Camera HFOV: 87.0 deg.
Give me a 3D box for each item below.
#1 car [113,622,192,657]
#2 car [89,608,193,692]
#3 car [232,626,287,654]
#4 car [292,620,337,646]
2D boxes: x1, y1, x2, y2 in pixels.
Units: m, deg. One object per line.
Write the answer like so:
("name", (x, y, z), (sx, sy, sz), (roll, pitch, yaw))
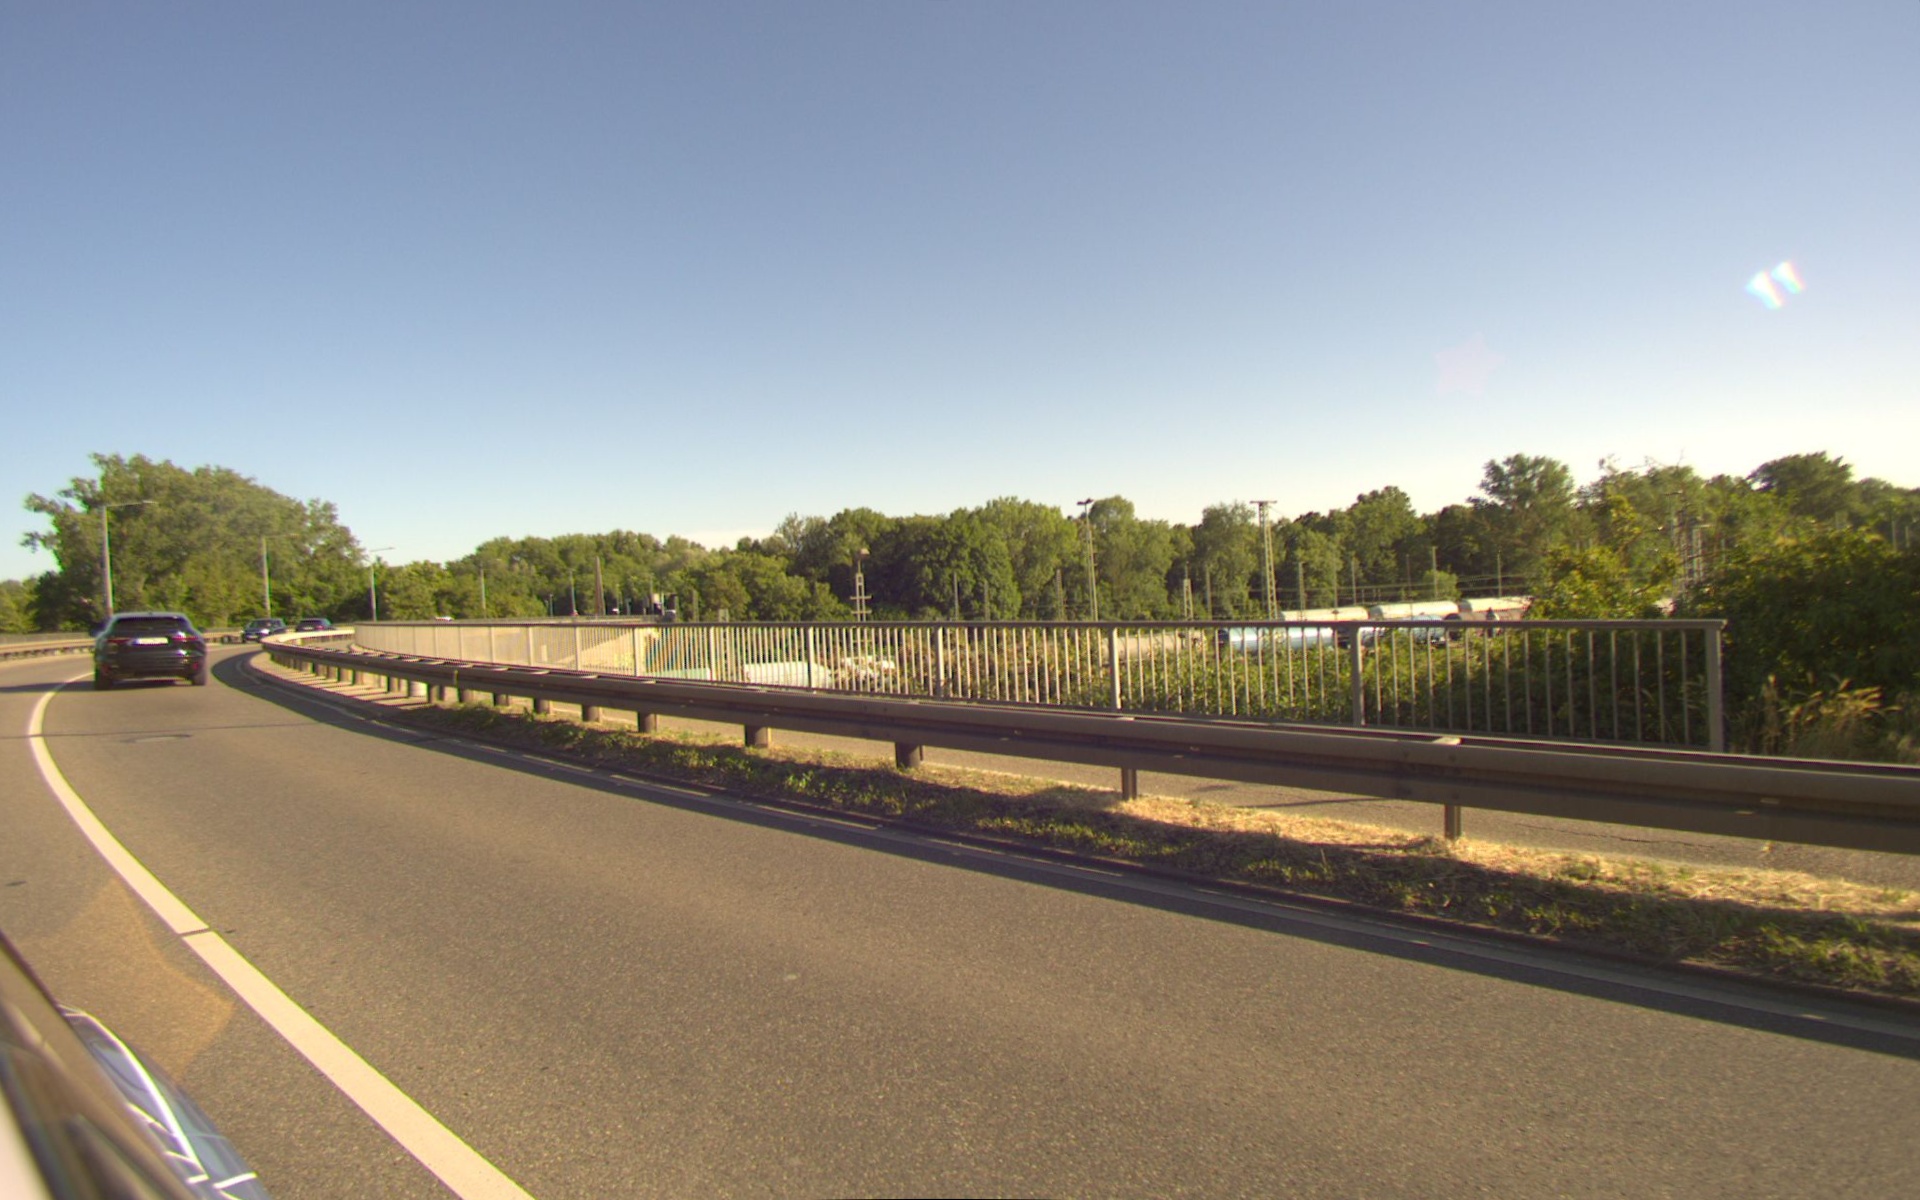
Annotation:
("car", (-38.765, 1.859, 48.704), (2.114, 1.579, 4.212), (0, -1, -26))
("car", (-18.165, 1.035, 22.455), (1.657, 1.668, 3.865), (-1, 0, -39))
("car", (-47.198, 2.668, 68.294), (1.657, 1.717, 3.612), (-1, 0, -9))
("car", (-43.423, 2.211, 68.180), (1.655, 1.641, 3.616), (-1, 0, -17))
